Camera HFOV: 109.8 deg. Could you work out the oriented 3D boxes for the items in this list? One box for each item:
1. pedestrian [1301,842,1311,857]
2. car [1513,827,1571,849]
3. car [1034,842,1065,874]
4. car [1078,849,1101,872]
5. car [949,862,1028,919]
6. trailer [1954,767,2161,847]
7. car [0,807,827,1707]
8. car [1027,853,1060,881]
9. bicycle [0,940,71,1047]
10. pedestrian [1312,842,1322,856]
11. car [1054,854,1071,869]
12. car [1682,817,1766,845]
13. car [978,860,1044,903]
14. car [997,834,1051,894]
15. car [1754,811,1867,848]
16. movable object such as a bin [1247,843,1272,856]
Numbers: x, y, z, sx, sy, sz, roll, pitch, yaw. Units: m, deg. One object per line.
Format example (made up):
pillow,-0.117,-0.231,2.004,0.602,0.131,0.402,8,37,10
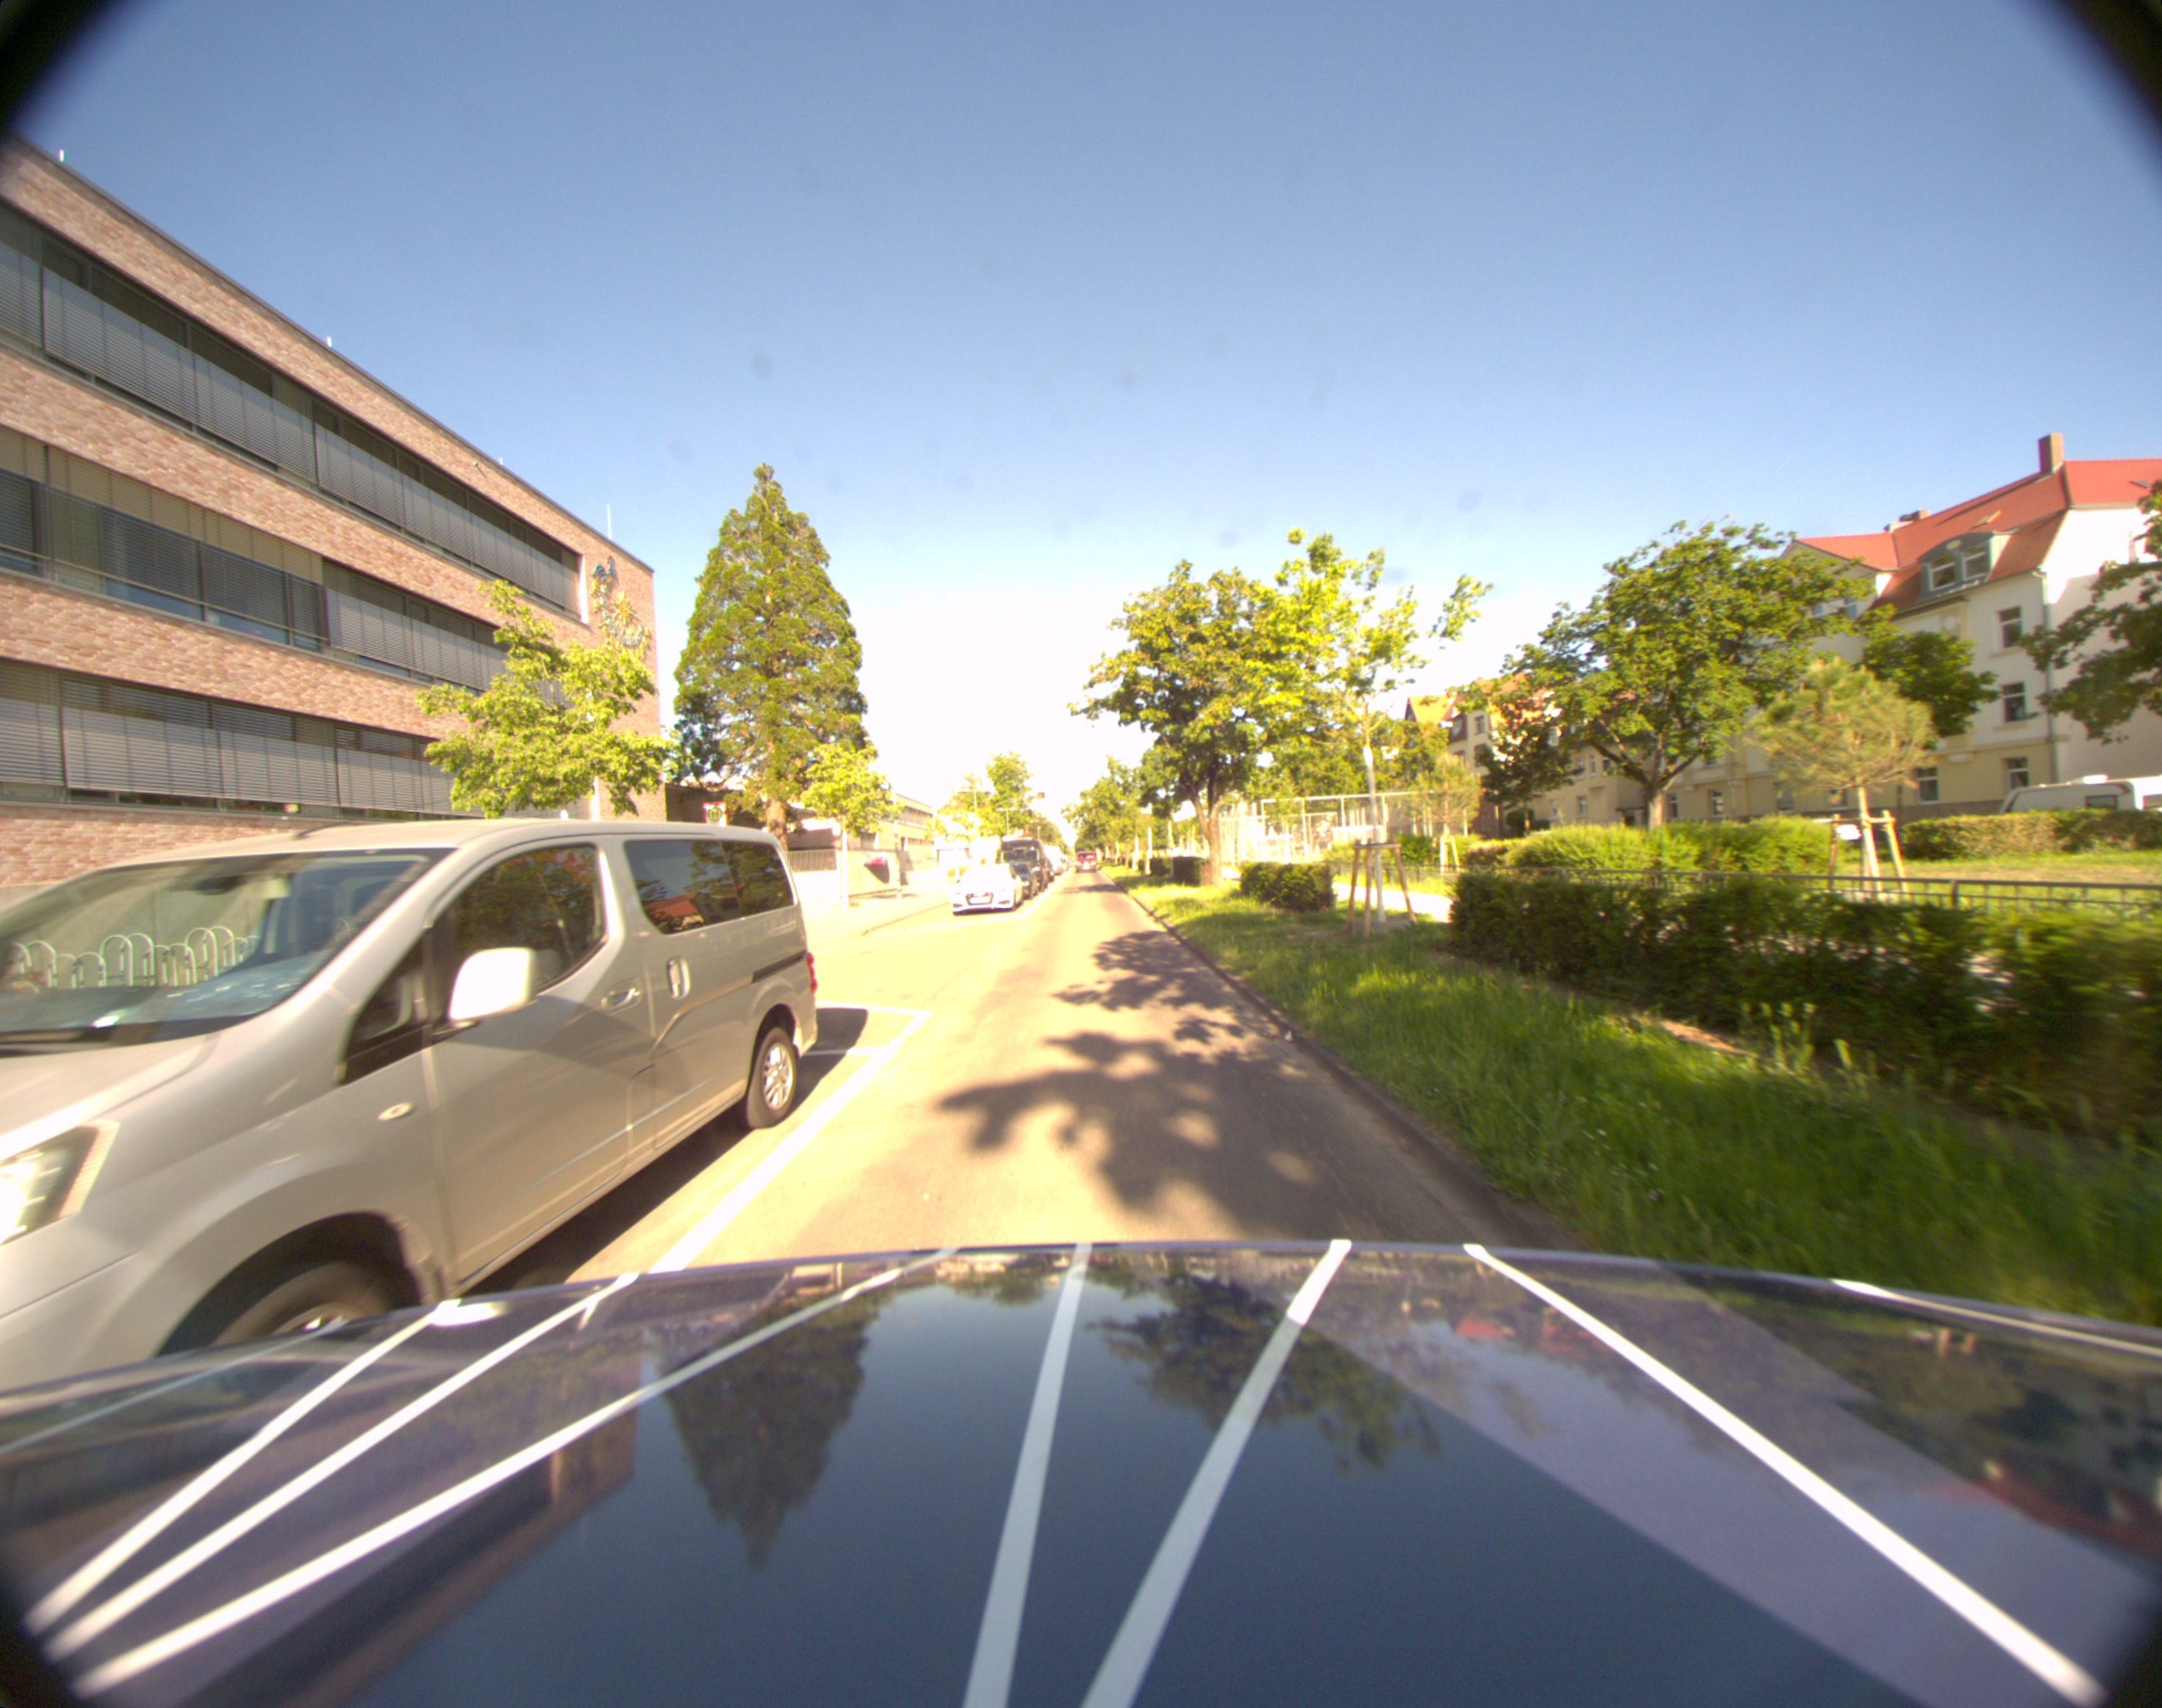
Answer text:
pedestrian,21.151,-0.439,71.458,0.648,1.310,0.651,-3,1,30
car,39.780,-1.338,65.756,1.886,1.642,5.182,-4,0,1
car,-2.731,0.294,66.474,2.247,2.559,5.432,-4,0,1
car,0.763,0.580,71.463,2.092,2.000,4.844,-1,0,0
car,-2.742,1.050,23.559,1.799,1.412,4.657,-3,0,0
trailer,40.178,-1.799,30.974,2.349,2.853,5.802,-4,0,0
car,-2.819,0.894,3.091,1.798,1.844,4.414,-4,0,3
car,-2.403,0.808,49.274,1.851,1.630,4.503,-3,0,0
bicycle,-12.535,1.558,8.467,1.799,1.101,0.500,-1,1,-2
pedestrian,22.007,-0.487,70.871,0.648,1.310,0.651,-3,1,30
car,-2.084,0.820,85.671,1.706,1.470,4.173,-4,0,1
car,39.974,-1.388,47.347,1.720,1.502,3.999,-4,0,-2
car,-2.652,1.012,29.948,1.998,1.412,4.635,-3,0,1
car,-2.643,0.433,36.796,2.121,2.501,6.531,-3,0,-1
car,39.777,-1.278,41.611,1.799,1.767,4.488,-4,0,1
movable object such as a bin,18.914,-0.452,80.736,2.337,1.234,1.056,-2,0,-4
